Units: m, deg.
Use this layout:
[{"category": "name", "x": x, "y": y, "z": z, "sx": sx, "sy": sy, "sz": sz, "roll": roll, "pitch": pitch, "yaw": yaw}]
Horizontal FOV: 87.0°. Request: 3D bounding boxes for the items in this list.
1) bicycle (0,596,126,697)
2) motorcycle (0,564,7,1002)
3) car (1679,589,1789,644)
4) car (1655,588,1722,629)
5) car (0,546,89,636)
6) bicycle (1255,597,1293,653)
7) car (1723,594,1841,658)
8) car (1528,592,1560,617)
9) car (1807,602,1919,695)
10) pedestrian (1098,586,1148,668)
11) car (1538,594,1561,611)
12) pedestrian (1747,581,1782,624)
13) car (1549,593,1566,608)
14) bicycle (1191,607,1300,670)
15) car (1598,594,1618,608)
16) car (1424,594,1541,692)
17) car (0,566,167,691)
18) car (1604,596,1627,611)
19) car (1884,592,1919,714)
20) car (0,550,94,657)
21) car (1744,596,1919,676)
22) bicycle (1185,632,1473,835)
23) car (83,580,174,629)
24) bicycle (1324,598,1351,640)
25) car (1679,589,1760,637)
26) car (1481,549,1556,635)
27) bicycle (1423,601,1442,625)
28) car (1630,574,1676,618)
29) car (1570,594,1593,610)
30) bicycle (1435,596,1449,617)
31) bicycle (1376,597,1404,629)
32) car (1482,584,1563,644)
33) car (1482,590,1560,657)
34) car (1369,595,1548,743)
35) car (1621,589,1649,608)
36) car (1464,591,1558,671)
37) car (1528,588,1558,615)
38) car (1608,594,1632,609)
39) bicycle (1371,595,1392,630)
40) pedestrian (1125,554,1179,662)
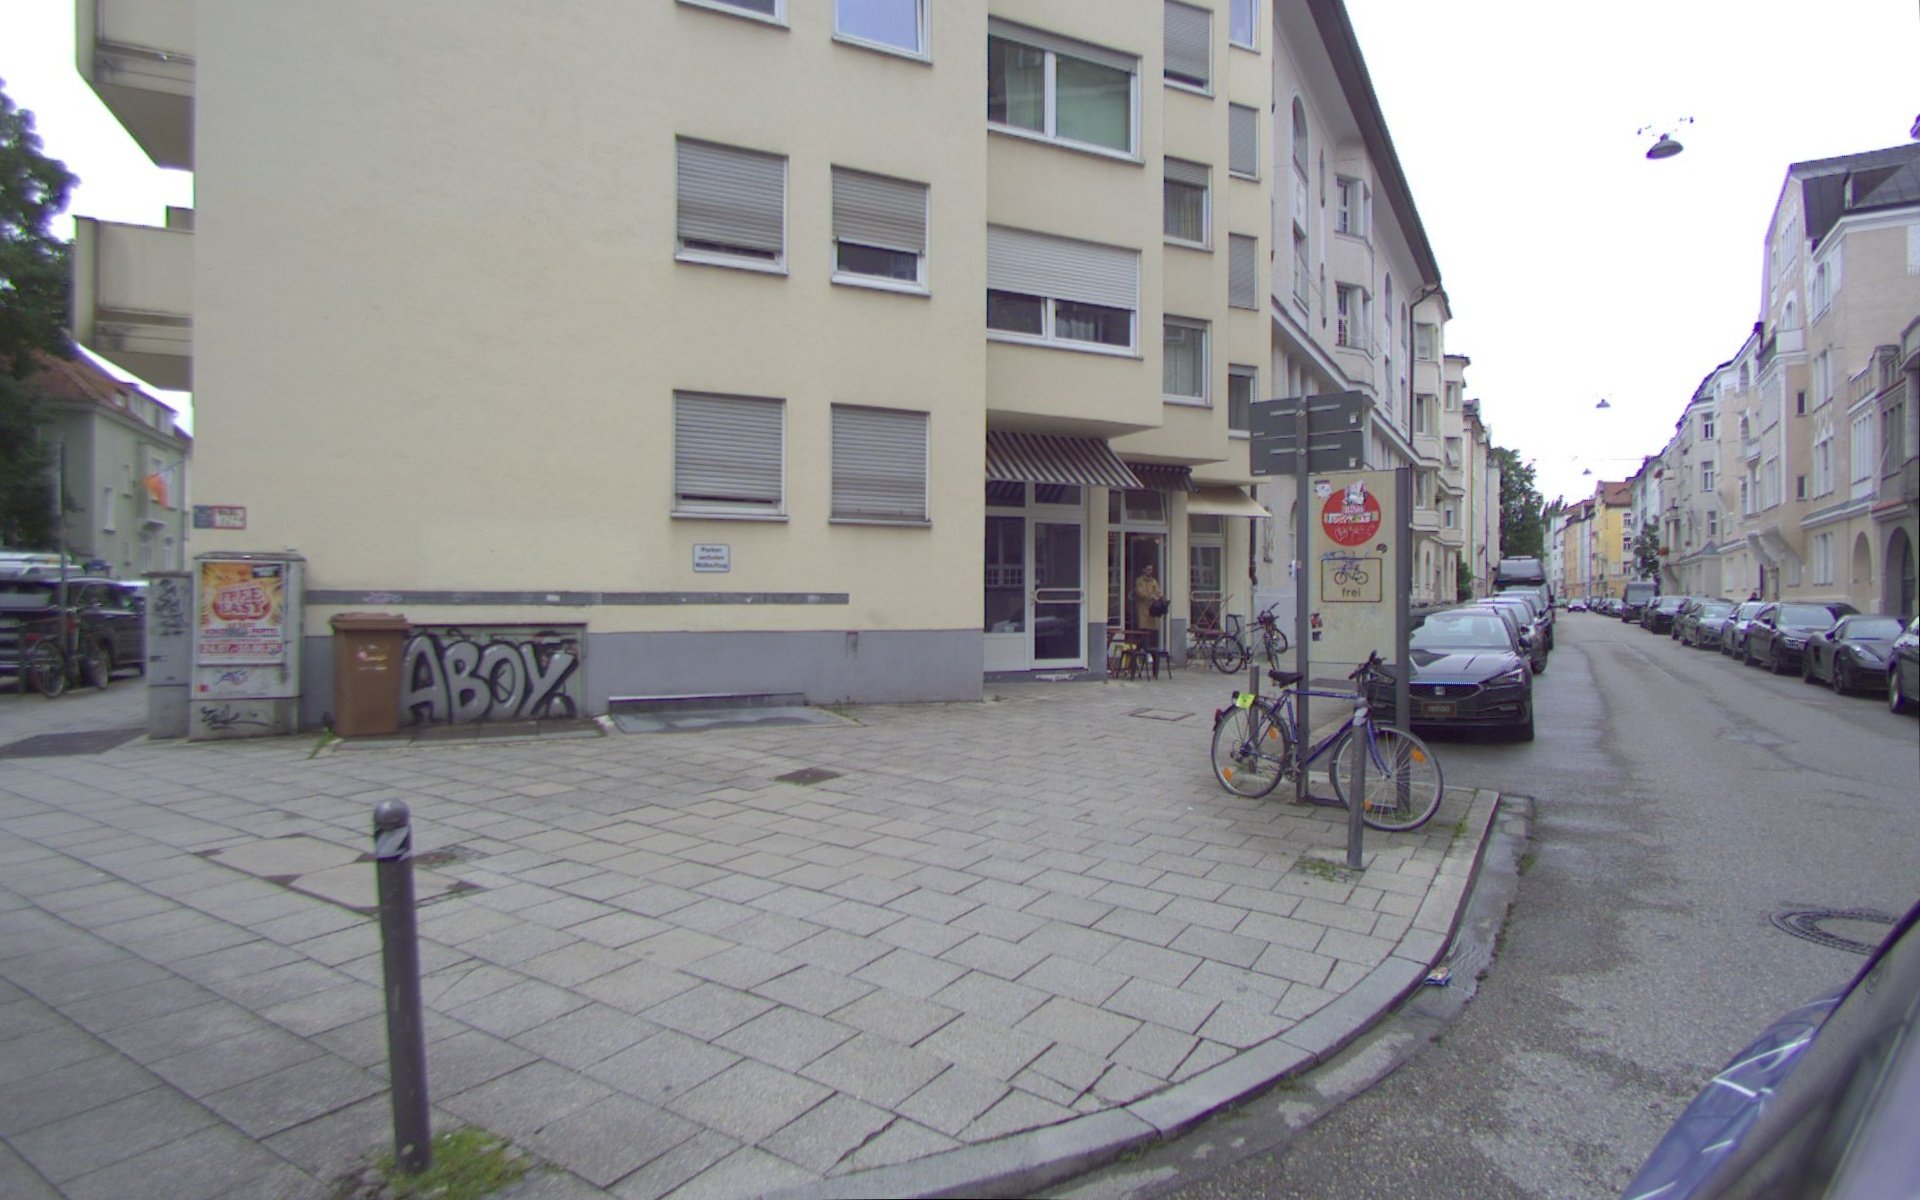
[{"category": "bicycle", "x": -11.221, "y": 0.533, "z": 12.692, "sx": 0.569, "sy": 1.168, "sz": 1.967, "roll": 0, "pitch": 0, "yaw": -20}, {"category": "motorcycle", "x": -4.076, "y": 0.569, "z": 2.945, "sx": 2.050, "sy": 1.373, "sz": 0.815, "roll": 0, "pitch": 0, "yaw": 9}, {"category": "car", "x": 23.396, "y": 0.454, "z": 30.763, "sx": 1.825, "sy": 1.532, "sz": 4.564, "roll": 1, "pitch": 1, "yaw": 27}, {"category": "car", "x": 31.639, "y": 0.336, "z": 44.079, "sx": 1.941, "sy": 1.679, "sz": 4.567, "roll": 1, "pitch": 0, "yaw": 31}, {"category": "car", "x": -27.012, "y": -0.236, "z": 28.639, "sx": 2.099, "sy": 2.379, "sz": 5.379, "roll": 0, "pitch": 0, "yaw": -24}, {"category": "bicycle", "x": 7.231, "y": 0.552, "z": 23.282, "sx": 0.559, "sy": 1.207, "sz": 1.662, "roll": 3, "pitch": 1, "yaw": 26}, {"category": "car", "x": 20.887, "y": 0.600, "z": 25.888, "sx": 1.798, "sy": 1.449, "sz": 4.388, "roll": 2, "pitch": 1, "yaw": 32}, {"category": "car", "x": 36.932, "y": 0.256, "z": 63.959, "sx": 1.718, "sy": 1.485, "sz": 3.696, "roll": 0, "pitch": 0, "yaw": 31}, {"category": "car", "x": 15.386, "y": 0.723, "z": 16.583, "sx": 1.747, "sy": 1.348, "sz": 4.050, "roll": 0, "pitch": 0, "yaw": 32}, {"category": "pedestrian", "x": 2.846, "y": 0.459, "z": 17.698, "sx": 0.659, "sy": 1.416, "sz": 0.534, "roll": 0, "pitch": 0, "yaw": -26}, {"category": "car", "x": 51.701, "y": 0.198, "z": 88.688, "sx": 1.671, "sy": 1.400, "sz": 3.605, "roll": 0, "pitch": 0, "yaw": 31}, {"category": "pedestrian", "x": 33.751, "y": 0.097, "z": 42.462, "sx": 0.988, "sy": 1.750, "sz": 0.929, "roll": -1, "pitch": 0, "yaw": 31}, {"category": "car", "x": 70.397, "y": 0.060, "z": 119.263, "sx": 1.671, "sy": 1.702, "sz": 3.605, "roll": 0, "pitch": 0, "yaw": 31}, {"category": "bicycle", "x": 5.094, "y": 0.670, "z": 18.067, "sx": 1.762, "sy": 1.045, "sz": 0.755, "roll": 1, "pitch": 1, "yaw": -23}, {"category": "car", "x": 75.833, "y": 0.086, "z": 118.443, "sx": 1.670, "sy": 1.658, "sz": 3.667, "roll": 0, "pitch": 0, "yaw": 29}, {"category": "car", "x": 9.095, "y": 0.650, "z": 17.552, "sx": 1.624, "sy": 1.490, "sz": 3.816, "roll": 0, "pitch": 0, "yaw": 29}, {"category": "car", "x": -13.866, "y": 0.377, "z": 15.414, "sx": 1.817, "sy": 1.659, "sz": 4.557, "roll": 0, "pitch": 0, "yaw": -25}, {"category": "car", "x": 66.230, "y": 0.322, "z": 102.285, "sx": 1.670, "sy": 1.416, "sz": 3.667, "roll": 0, "pitch": 0, "yaw": 29}, {"category": "car", "x": 12.609, "y": 0.679, "z": 11.892, "sx": 1.747, "sy": 1.534, "sz": 4.654, "roll": 0, "pitch": 0, "yaw": 32}, {"category": "car", "x": -20.485, "y": 0.043, "z": 21.345, "sx": 2.004, "sy": 2.067, "sz": 4.967, "roll": 0, "pitch": 0, "yaw": -24}, {"category": "car", "x": 18.170, "y": 0.654, "z": 21.277, "sx": 1.983, "sy": 1.466, "sz": 4.729, "roll": 0, "pitch": 1, "yaw": 29}, {"category": "bicycle", "x": 2.421, "y": 0.818, "z": 6.874, "sx": 0.653, "sy": 1.099, "sz": 1.799, "roll": 2, "pitch": 0, "yaw": -31}, {"category": "car", "x": -31.343, "y": 0.156, "z": 38.268, "sx": 1.789, "sy": 1.732, "sz": 4.006, "roll": 0, "pitch": 0, "yaw": -26}, {"category": "bicycle", "x": 10.789, "y": 0.527, "z": 28.906, "sx": 0.478, "sy": 1.165, "sz": 1.770, "roll": -1, "pitch": 0, "yaw": 28}, {"category": "car", "x": 26.810, "y": 0.434, "z": 35.845, "sx": 1.793, "sy": 1.592, "sz": 3.774, "roll": 0, "pitch": 0, "yaw": 29}, {"category": "car", "x": 21.317, "y": -0.316, "z": 38.501, "sx": 2.243, "sy": 2.997, "sz": 6.067, "roll": -1, "pitch": 0, "yaw": 30}, {"category": "bicycle", "x": 22.751, "y": 0.622, "z": 48.706, "sx": 0.638, "sy": 1.131, "sz": 1.946, "roll": -1, "pitch": 0, "yaw": 31}, {"category": "car", "x": 43.702, "y": -0.289, "z": 63.928, "sx": 2.090, "sy": 2.654, "sz": 5.614, "roll": 2, "pitch": 1, "yaw": 32}, {"category": "car", "x": 69.926, "y": 0.210, "z": 113.939, "sx": 1.982, "sy": 1.821, "sz": 3.960, "roll": 0, "pitch": 0, "yaw": 29}, {"category": "bicycle", "x": 26.010, "y": 0.347, "z": 54.607, "sx": 0.490, "sy": 1.131, "sz": 1.946, "roll": -1, "pitch": 0, "yaw": 31}, {"category": "bicycle", "x": 16.102, "y": 0.460, "z": 37.895, "sx": 0.481, "sy": 1.165, "sz": 1.762, "roll": -1, "pitch": 0, "yaw": 40}, {"category": "car", "x": 17.475, "y": 0.399, "z": 31.337, "sx": 1.984, "sy": 1.710, "sz": 4.621, "roll": -1, "pitch": -1, "yaw": 32}, {"category": "car", "x": 14.541, "y": 0.550, "z": 26.305, "sx": 1.624, "sy": 1.612, "sz": 3.928, "roll": 0, "pitch": 0, "yaw": 29}, {"category": "car", "x": 6.335, "y": 0.692, "z": 12.711, "sx": 1.683, "sy": 1.490, "sz": 4.564, "roll": 0, "pitch": 0, "yaw": 29}, {"category": "car", "x": 53.707, "y": -0.124, "z": 80.565, "sx": 1.671, "sy": 1.416, "sz": 3.664, "roll": 0, "pitch": 0, "yaw": 31}, {"category": "car", "x": 11.807, "y": 0.591, "z": 21.835, "sx": 1.623, "sy": 1.556, "sz": 3.819, "roll": 0, "pitch": 0, "yaw": 27}, {"category": "car", "x": 39.084, "y": 0.084, "z": 67.818, "sx": 1.671, "sy": 1.800, "sz": 3.418, "roll": 0, "pitch": 0, "yaw": 31}, {"category": "car", "x": 61.458, "y": 0.124, "z": 94.262, "sx": 1.670, "sy": 1.416, "sz": 3.667, "roll": 0, "pitch": 0, "yaw": 29}, {"category": "bicycle", "x": 14.930, "y": 0.433, "z": 35.806, "sx": 0.479, "sy": 1.165, "sz": 1.770, "roll": 3, "pitch": 2, "yaw": 28}, {"category": "pedestrian", "x": 3.473, "y": 0.140, "z": 18.368, "sx": 0.728, "sy": 1.871, "sz": 1.015, "roll": 3, "pitch": 0, "yaw": 3}]
